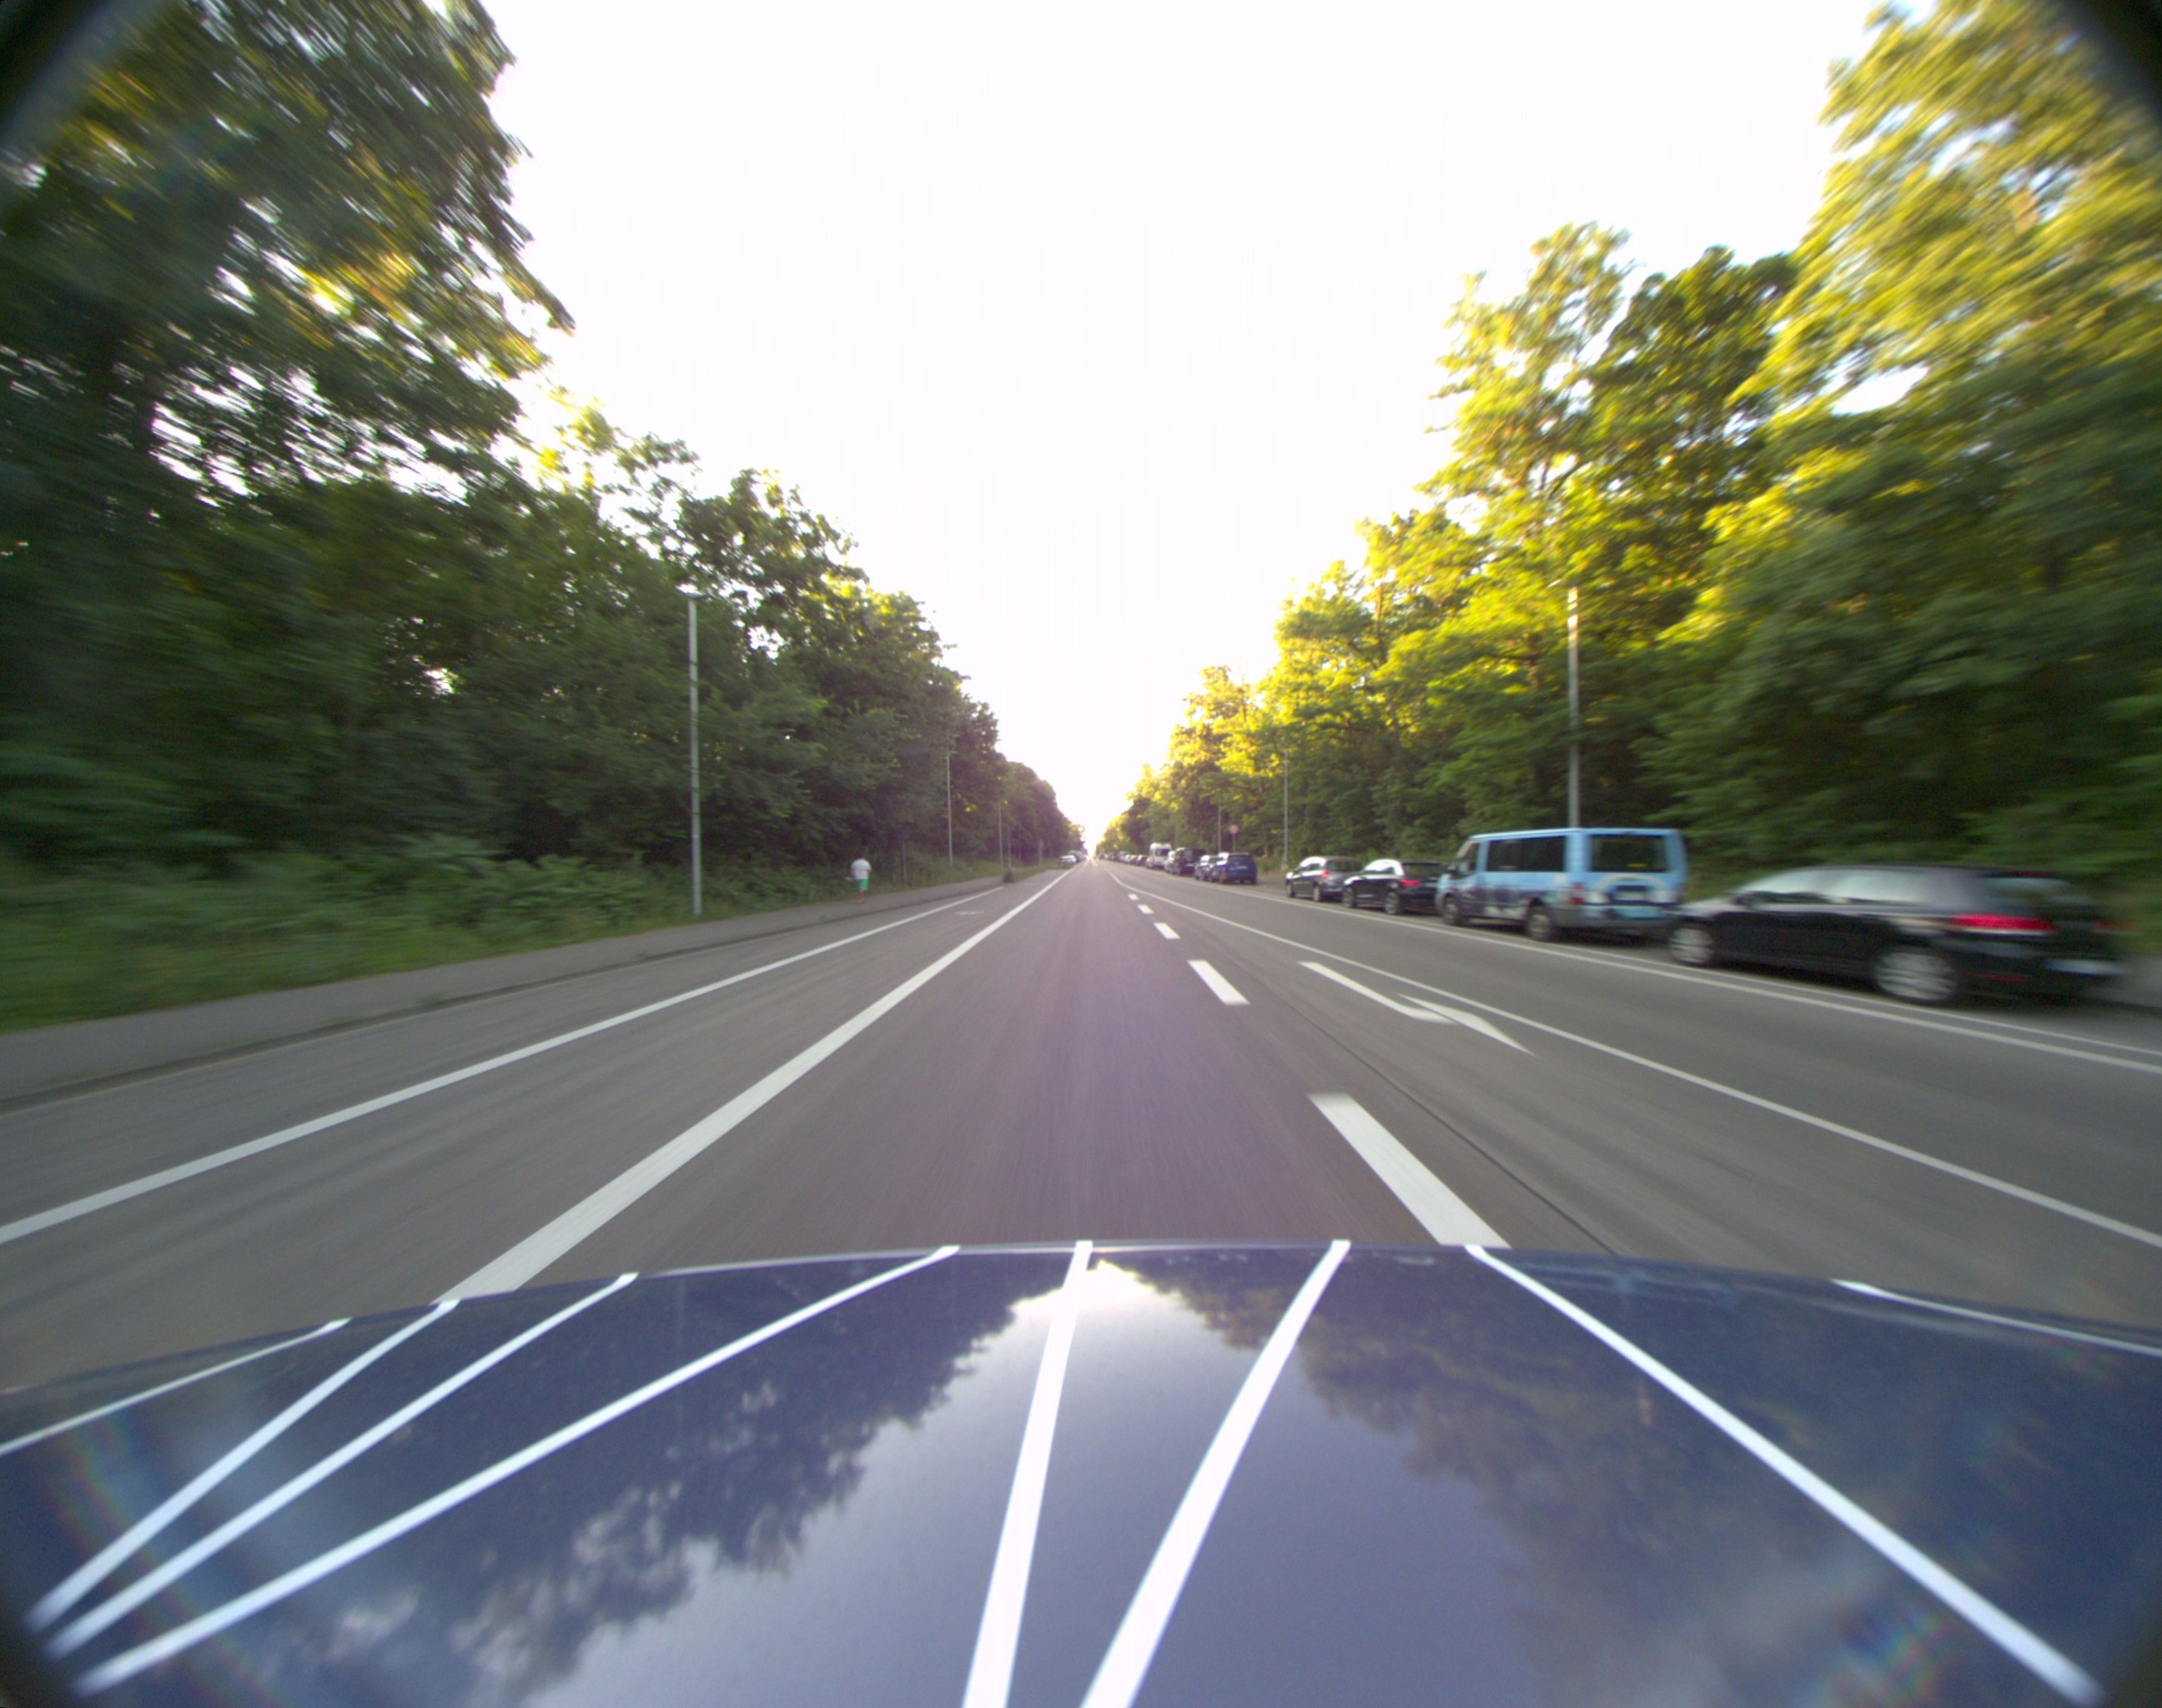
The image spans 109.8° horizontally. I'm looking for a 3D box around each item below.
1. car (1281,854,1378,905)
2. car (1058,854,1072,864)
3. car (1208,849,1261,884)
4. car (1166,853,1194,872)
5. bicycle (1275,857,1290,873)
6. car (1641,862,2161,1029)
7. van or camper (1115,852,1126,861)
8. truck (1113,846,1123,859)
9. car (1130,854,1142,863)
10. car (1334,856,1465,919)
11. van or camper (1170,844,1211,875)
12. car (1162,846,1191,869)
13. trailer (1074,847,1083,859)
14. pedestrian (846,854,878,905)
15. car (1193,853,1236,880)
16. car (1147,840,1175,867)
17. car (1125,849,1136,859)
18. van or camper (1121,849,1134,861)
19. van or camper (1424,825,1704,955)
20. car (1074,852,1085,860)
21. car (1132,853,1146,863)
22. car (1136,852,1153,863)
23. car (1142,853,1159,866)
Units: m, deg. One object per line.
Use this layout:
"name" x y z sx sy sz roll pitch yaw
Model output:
"car" 8.159 0.796 25.316 1.621 1.525 4.038 1 0 -4
"car" -2.275 0.702 108.139 1.715 1.436 4.122 -2 0 1
"car" 7.884 0.593 39.466 1.749 1.702 4.522 1 0 -1
"car" 7.945 0.666 61.203 1.674 1.424 4.447 1 0 1
"bicycle" 12.783 0.677 48.236 0.454 0.969 1.718 0 0 0
"car" 9.204 0.861 9.055 1.692 1.453 4.241 1 0 -5
"van or camper" 9.491 0.584 182.626 2.034 1.945 4.692 2 0 -2
"truck" 9.527 -0.419 196.011 2.226 3.188 6.271 2 0 0
"car" 8.563 0.694 117.916 1.601 1.386 4.051 0 0 0
"car" 8.407 0.818 20.436 1.547 1.485 3.970 1 0 -5
"van or camper" 7.772 0.369 54.504 2.008 2.006 5.460 1 0 -1
"car" 8.292 0.296 66.356 1.692 1.847 4.386 -4 1 -2
"trailer" -0.573 -0.247 181.547 1.866 2.633 4.269 -2 0 0
"pedestrian" -7.642 0.884 26.552 0.840 1.741 0.726 -1 1 2
"car" 7.758 0.697 44.383 1.673 1.492 4.245 1 0 -1
"car" 8.146 -0.070 77.720 2.084 2.591 7.088 2 0 1
"car" 8.792 0.046 135.512 1.699 1.636 4.572 1 0 -1
"van or camper" 9.970 0.168 163.253 2.116 2.376 6.381 2 0 -1
"van or camper" 8.904 0.573 14.719 2.037 2.082 5.012 1 0 -3
"car" -0.301 0.372 140.600 1.848 1.485 4.759 -2 -1 -1
"car" 8.523 0.586 112.046 1.716 1.500 3.657 1 0 0
"car" 8.453 0.436 101.720 1.850 1.454 4.229 1 0 -2
"car" 7.640 0.610 83.784 1.720 1.422 4.388 0 0 2
